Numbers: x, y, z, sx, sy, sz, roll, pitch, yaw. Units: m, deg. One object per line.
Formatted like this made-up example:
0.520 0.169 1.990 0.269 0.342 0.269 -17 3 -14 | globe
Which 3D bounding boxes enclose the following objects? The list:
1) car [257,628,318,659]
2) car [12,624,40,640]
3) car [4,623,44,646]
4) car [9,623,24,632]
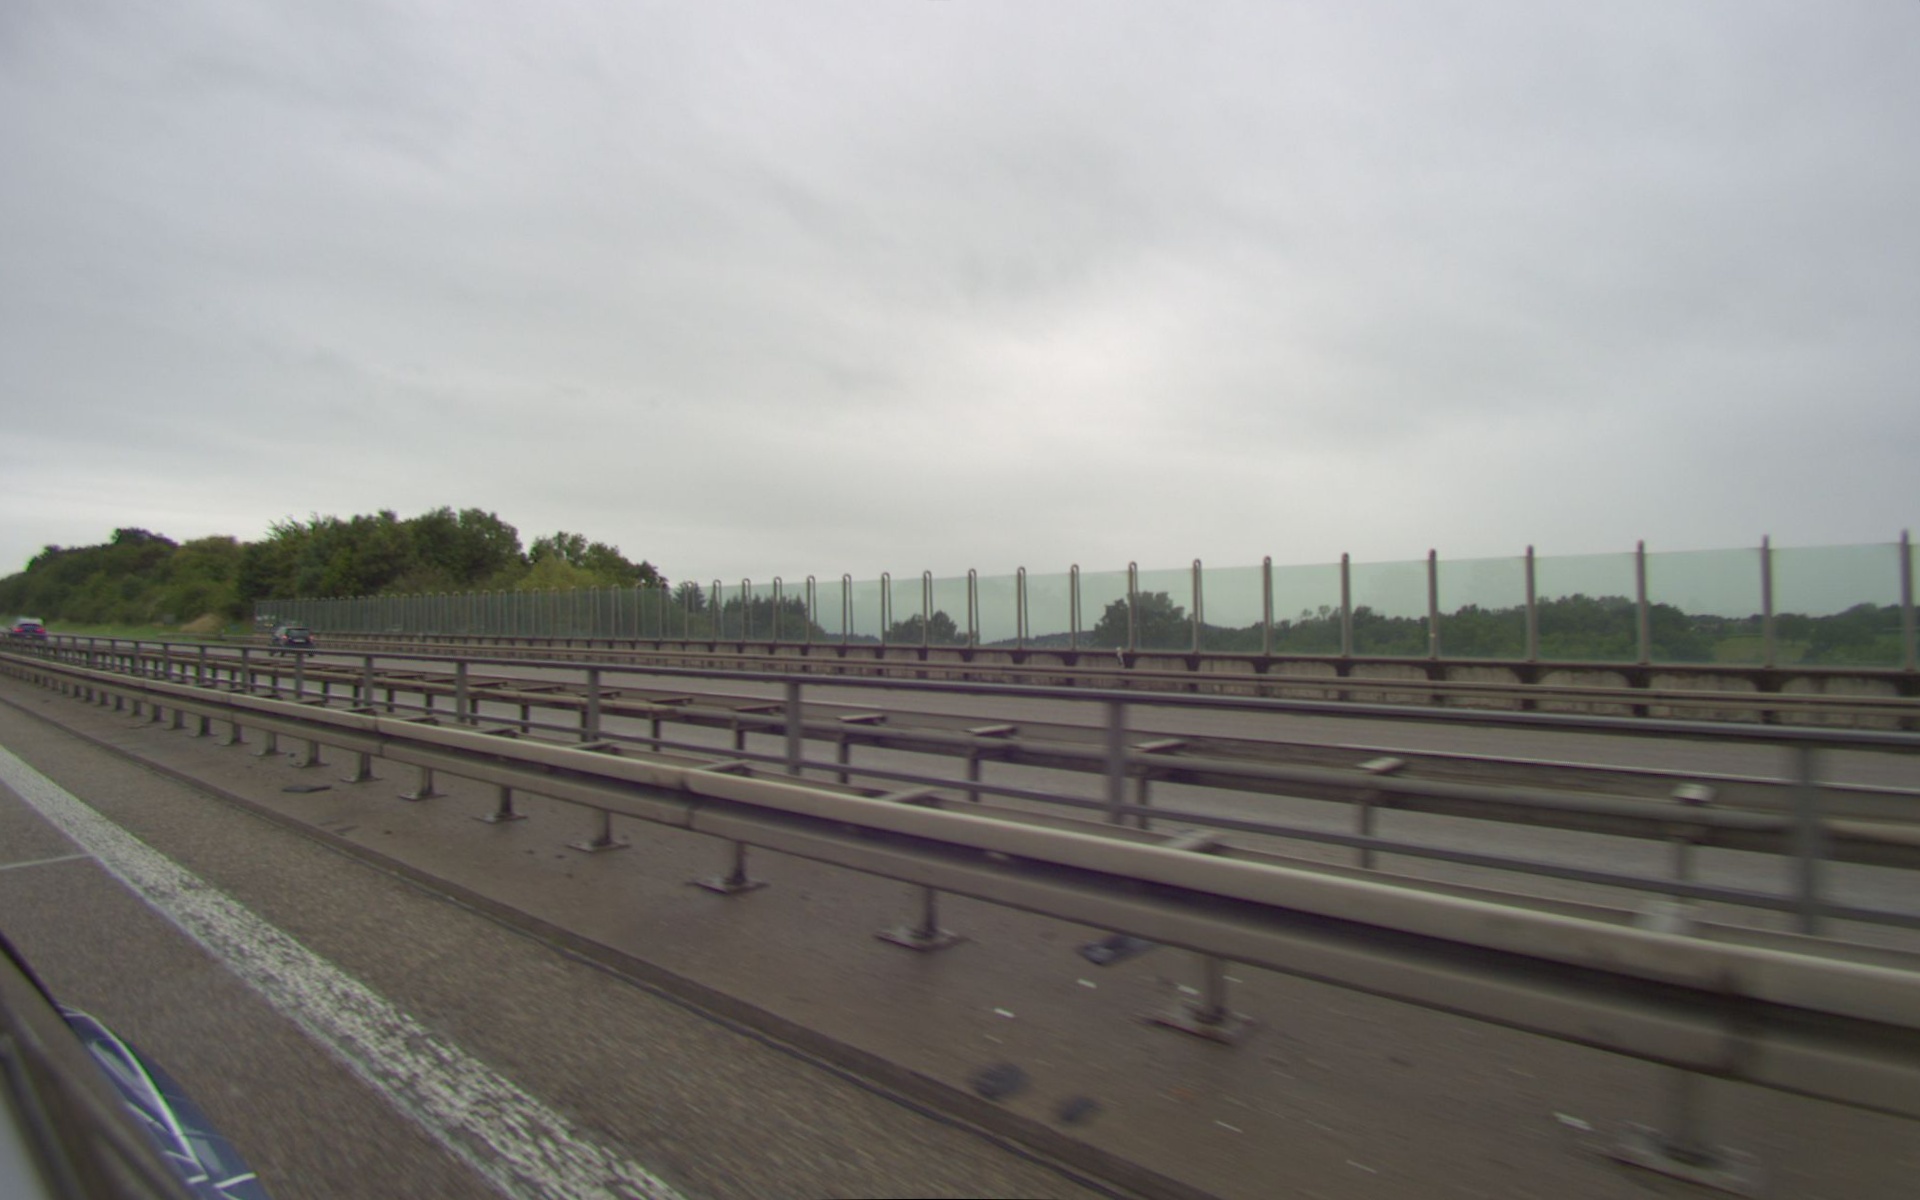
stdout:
-34.933 2.240 52.549 3.858 1.508 1.666 -2 -2 41 | car
-92.482 3.195 100.173 3.858 1.548 1.666 -2 -2 41 | car
-64.912 2.407 70.167 3.858 1.548 1.666 -2 -2 41 | car
-177.869 5.206 190.764 3.858 1.548 1.666 -2 -2 41 | car
